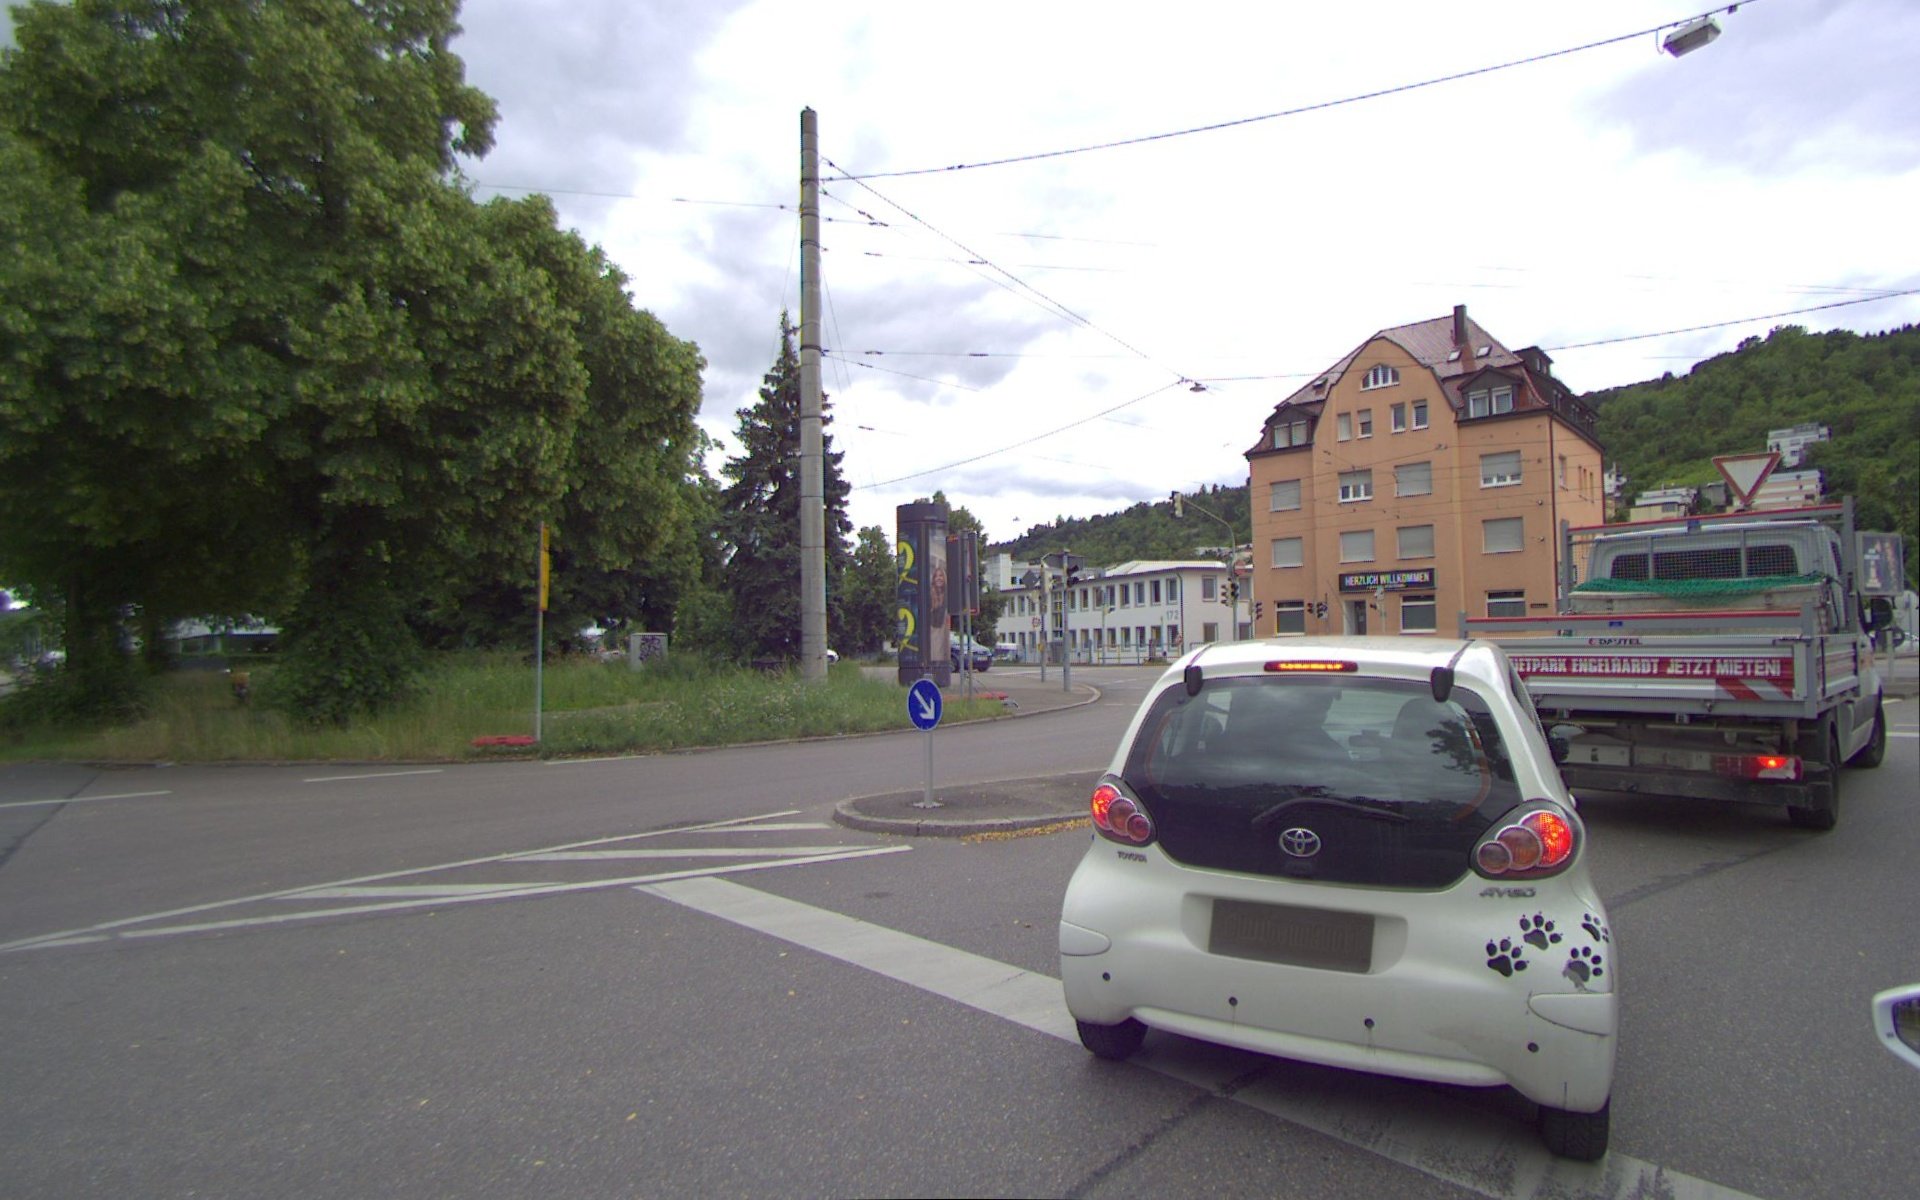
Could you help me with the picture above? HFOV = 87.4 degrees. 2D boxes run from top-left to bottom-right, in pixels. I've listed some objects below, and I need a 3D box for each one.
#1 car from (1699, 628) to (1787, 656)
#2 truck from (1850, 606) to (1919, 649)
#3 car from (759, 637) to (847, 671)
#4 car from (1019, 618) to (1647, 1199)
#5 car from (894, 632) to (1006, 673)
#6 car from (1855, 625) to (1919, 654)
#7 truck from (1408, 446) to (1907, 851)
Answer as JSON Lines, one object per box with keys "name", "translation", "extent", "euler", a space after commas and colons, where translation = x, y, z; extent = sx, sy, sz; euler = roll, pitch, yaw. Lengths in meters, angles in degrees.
{"name": "car", "translation": [47.650, 2.579, 61.191], "extent": [4.153, 1.553, 1.768], "euler": [-3, -3, 39]}
{"name": "truck", "translation": [55.264, 1.562, 58.232], "extent": [5.112, 2.424, 1.995], "euler": [-3, -3, 33]}
{"name": "car", "translation": [-7.005, 2.391, 44.525], "extent": [1.791, 1.385, 4.421], "euler": [0, -3, -41]}
{"name": "car", "translation": [1.731, 0.859, 4.318], "extent": [1.615, 1.451, 3.426], "euler": [-3, -3, 28]}
{"name": "car", "translation": [-0.439, 1.959, 37.402], "extent": [1.790, 1.385, 4.422], "euler": [0, -3, -40]}
{"name": "car", "translation": [52.923, 2.207, 56.153], "extent": [1.764, 1.553, 4.162], "euler": [1, -3, -44]}
{"name": "truck", "translation": [6.511, 0.386, 8.973], "extent": [5.986, 2.429, 2.399], "euler": [1, -4, -43]}
